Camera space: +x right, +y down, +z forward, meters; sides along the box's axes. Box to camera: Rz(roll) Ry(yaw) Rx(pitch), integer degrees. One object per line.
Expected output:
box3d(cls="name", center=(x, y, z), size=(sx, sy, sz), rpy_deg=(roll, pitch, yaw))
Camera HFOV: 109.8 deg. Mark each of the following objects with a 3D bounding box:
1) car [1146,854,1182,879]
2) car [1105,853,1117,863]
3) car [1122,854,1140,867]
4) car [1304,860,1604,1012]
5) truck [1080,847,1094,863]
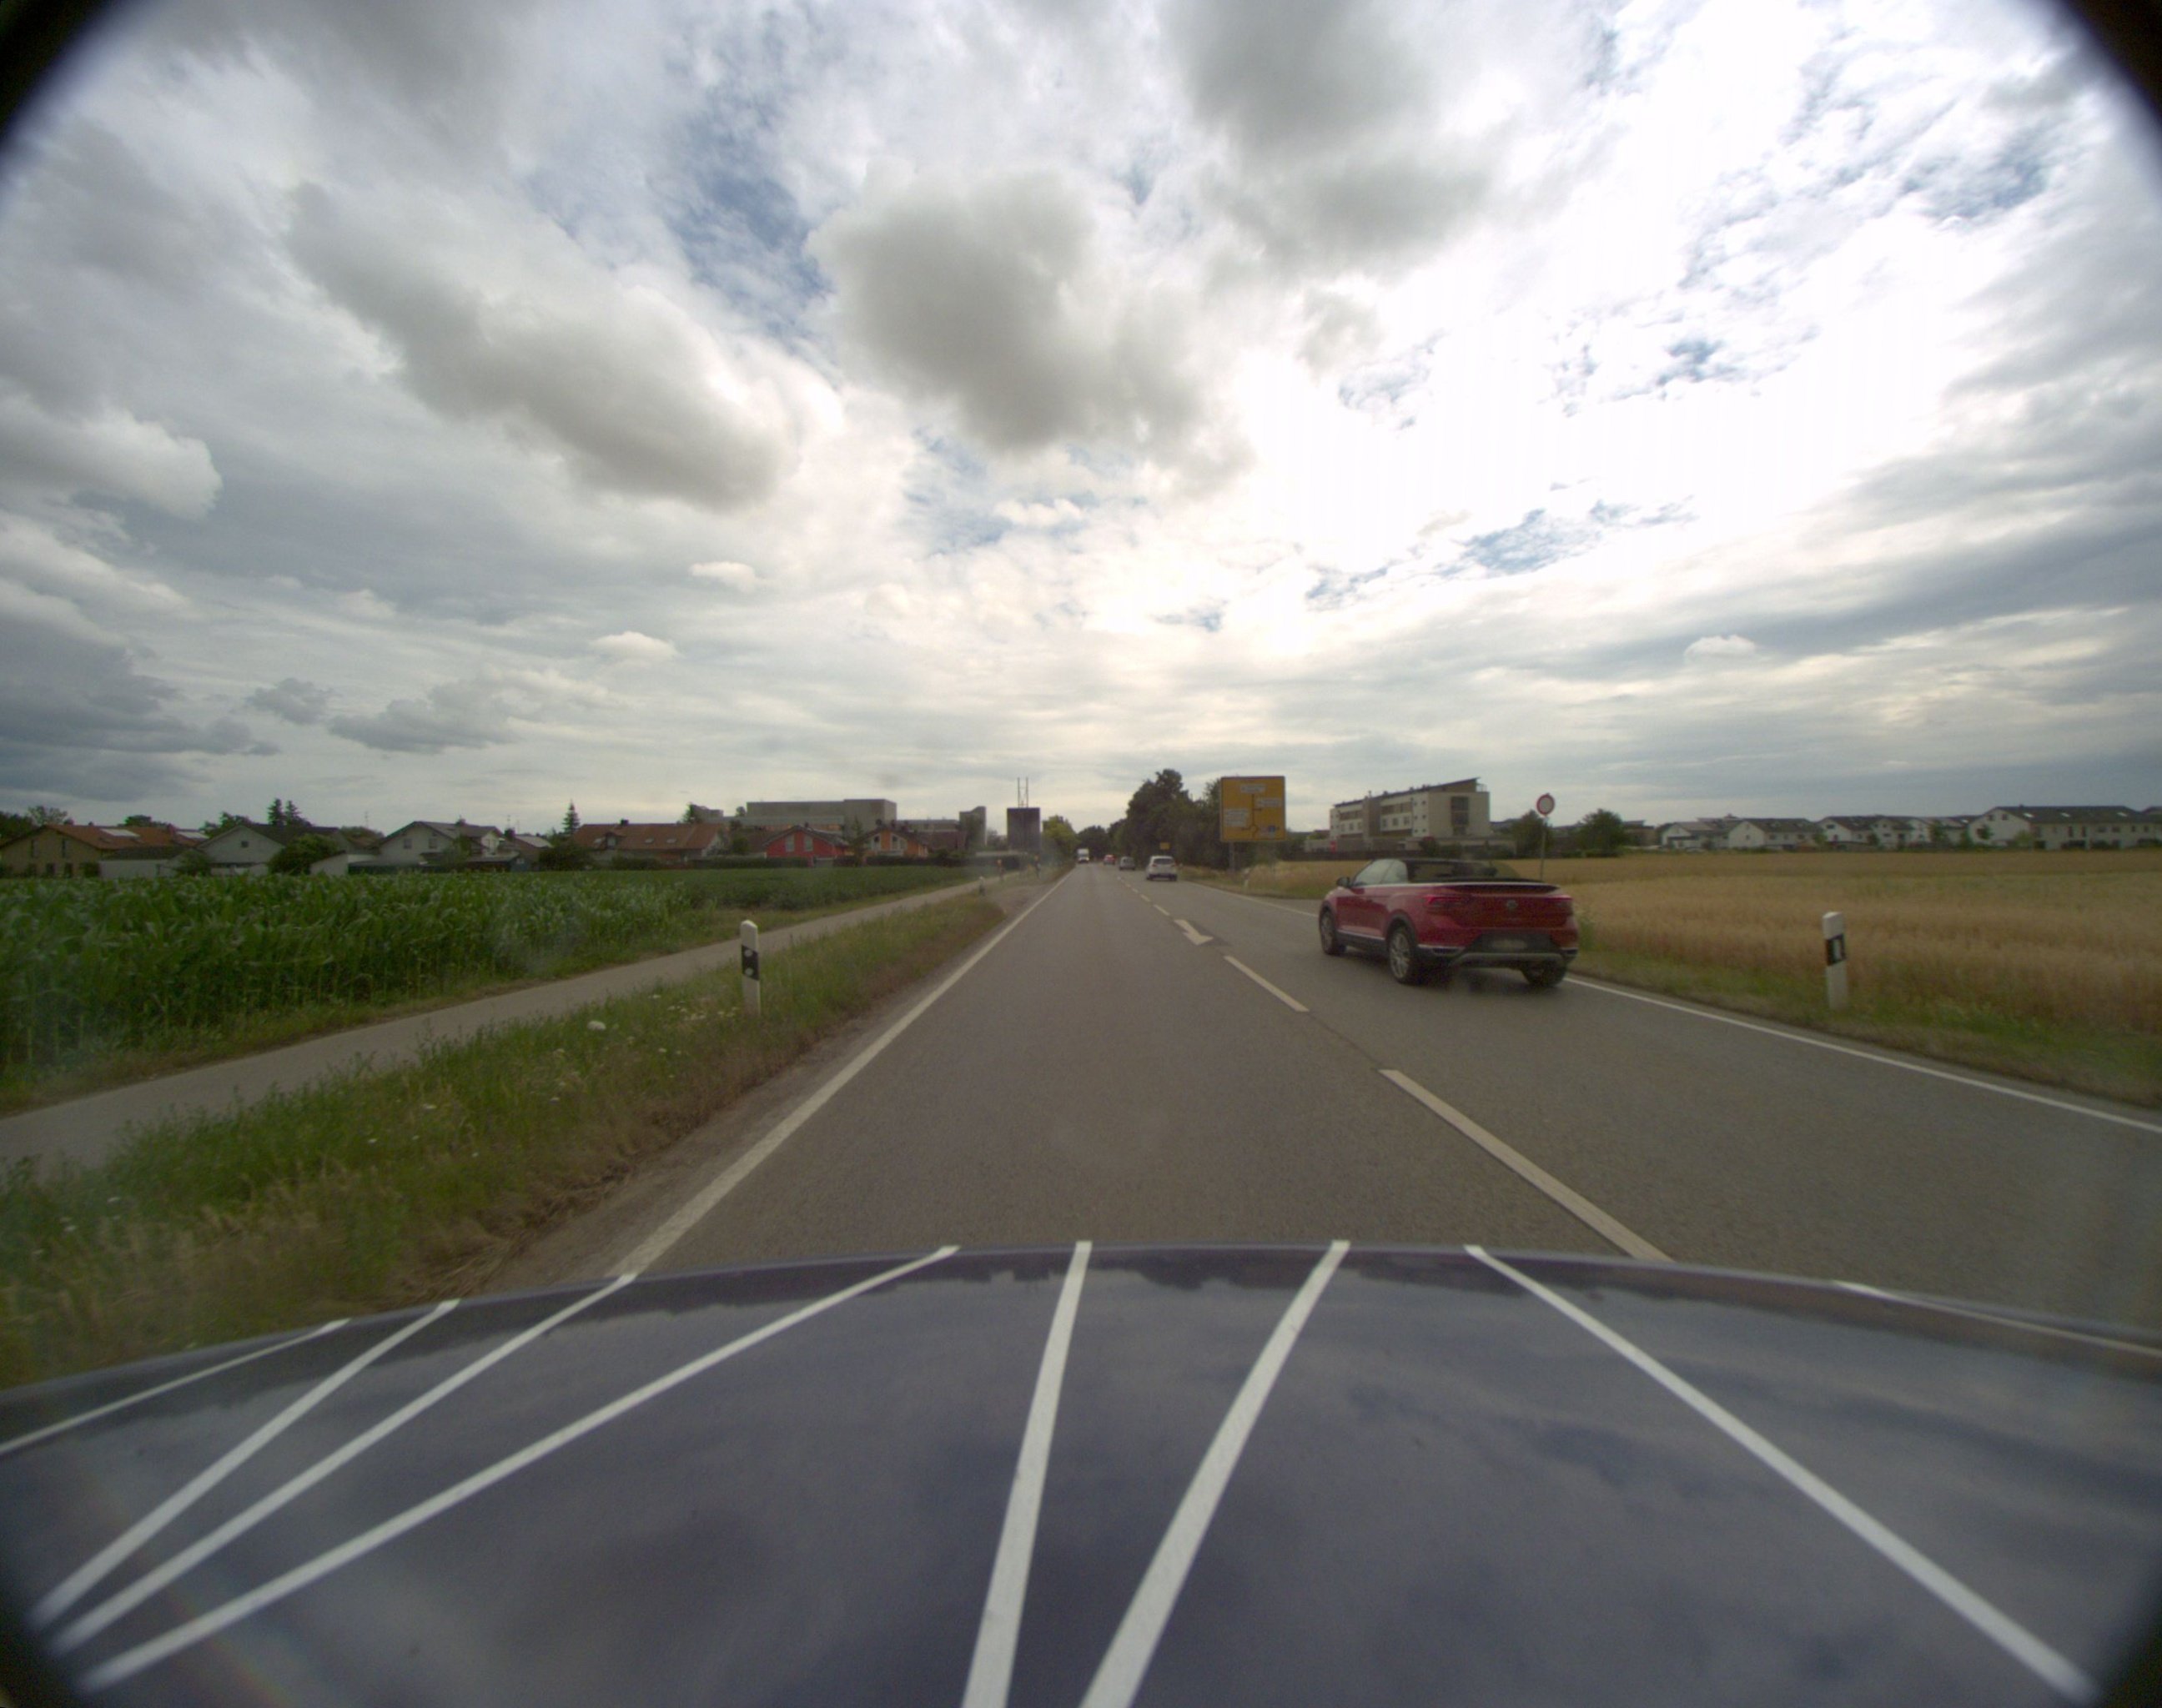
box3d(cls="car", center=(5.092, 0.743, 47.030), size=(1.810, 1.448, 4.113), rpy_deg=(0, 0, 1))
box3d(cls="car", center=(5.382, 0.751, 135.627), size=(1.998, 1.674, 4.809), rpy_deg=(1, 0, 1))
box3d(cls="car", center=(5.376, 0.689, 82.270), size=(1.733, 1.355, 3.949), rpy_deg=(0, 0, 1))
box3d(cls="car", center=(4.423, 0.839, 9.930), size=(1.716, 1.480, 4.608), rpy_deg=(0, 0, 1))
box3d(cls="truck", center=(1.305, 0.177, 169.752), size=(2.613, 3.427, 7.509), rpy_deg=(-2, 0, 4))
